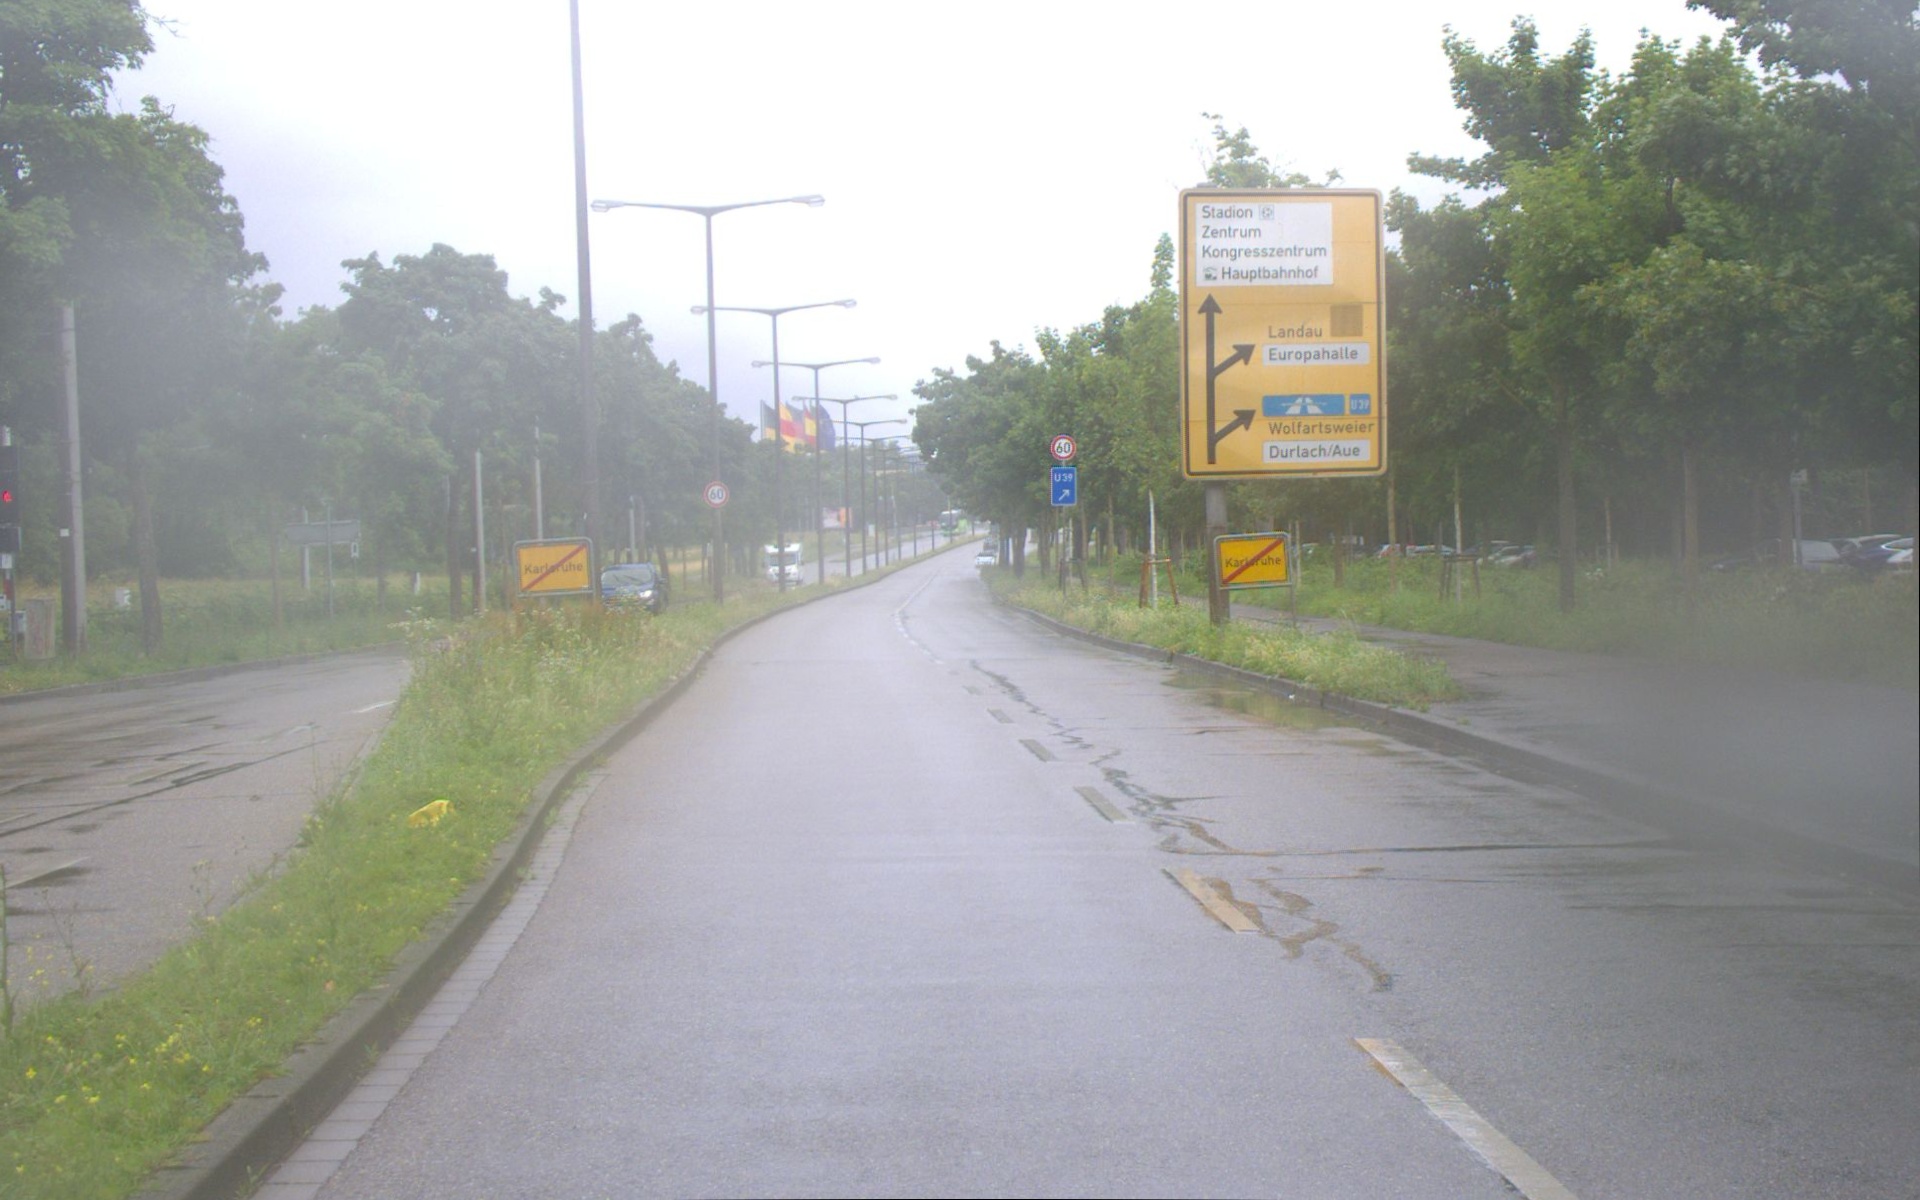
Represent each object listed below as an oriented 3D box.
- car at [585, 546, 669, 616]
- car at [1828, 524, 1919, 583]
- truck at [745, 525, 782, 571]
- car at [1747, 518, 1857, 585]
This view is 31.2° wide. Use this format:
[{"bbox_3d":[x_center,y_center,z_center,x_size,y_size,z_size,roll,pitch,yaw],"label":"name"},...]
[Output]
[{"bbox_3d":[-8.551,-0.521,88.587,1.743,1.644,4.136,-4,1,-1],"label":"car"},{"bbox_3d":[26.942,-1.290,96.494,4.569,1.639,2.000,0,0,-5],"label":"car"},{"bbox_3d":[-12.798,-3.353,224.102,2.138,2.834,5.074,-3,0,-2],"label":"truck"},{"bbox_3d":[20.261,-1.188,82.866,1.745,1.440,4.122,-2,2,2],"label":"car"}]
